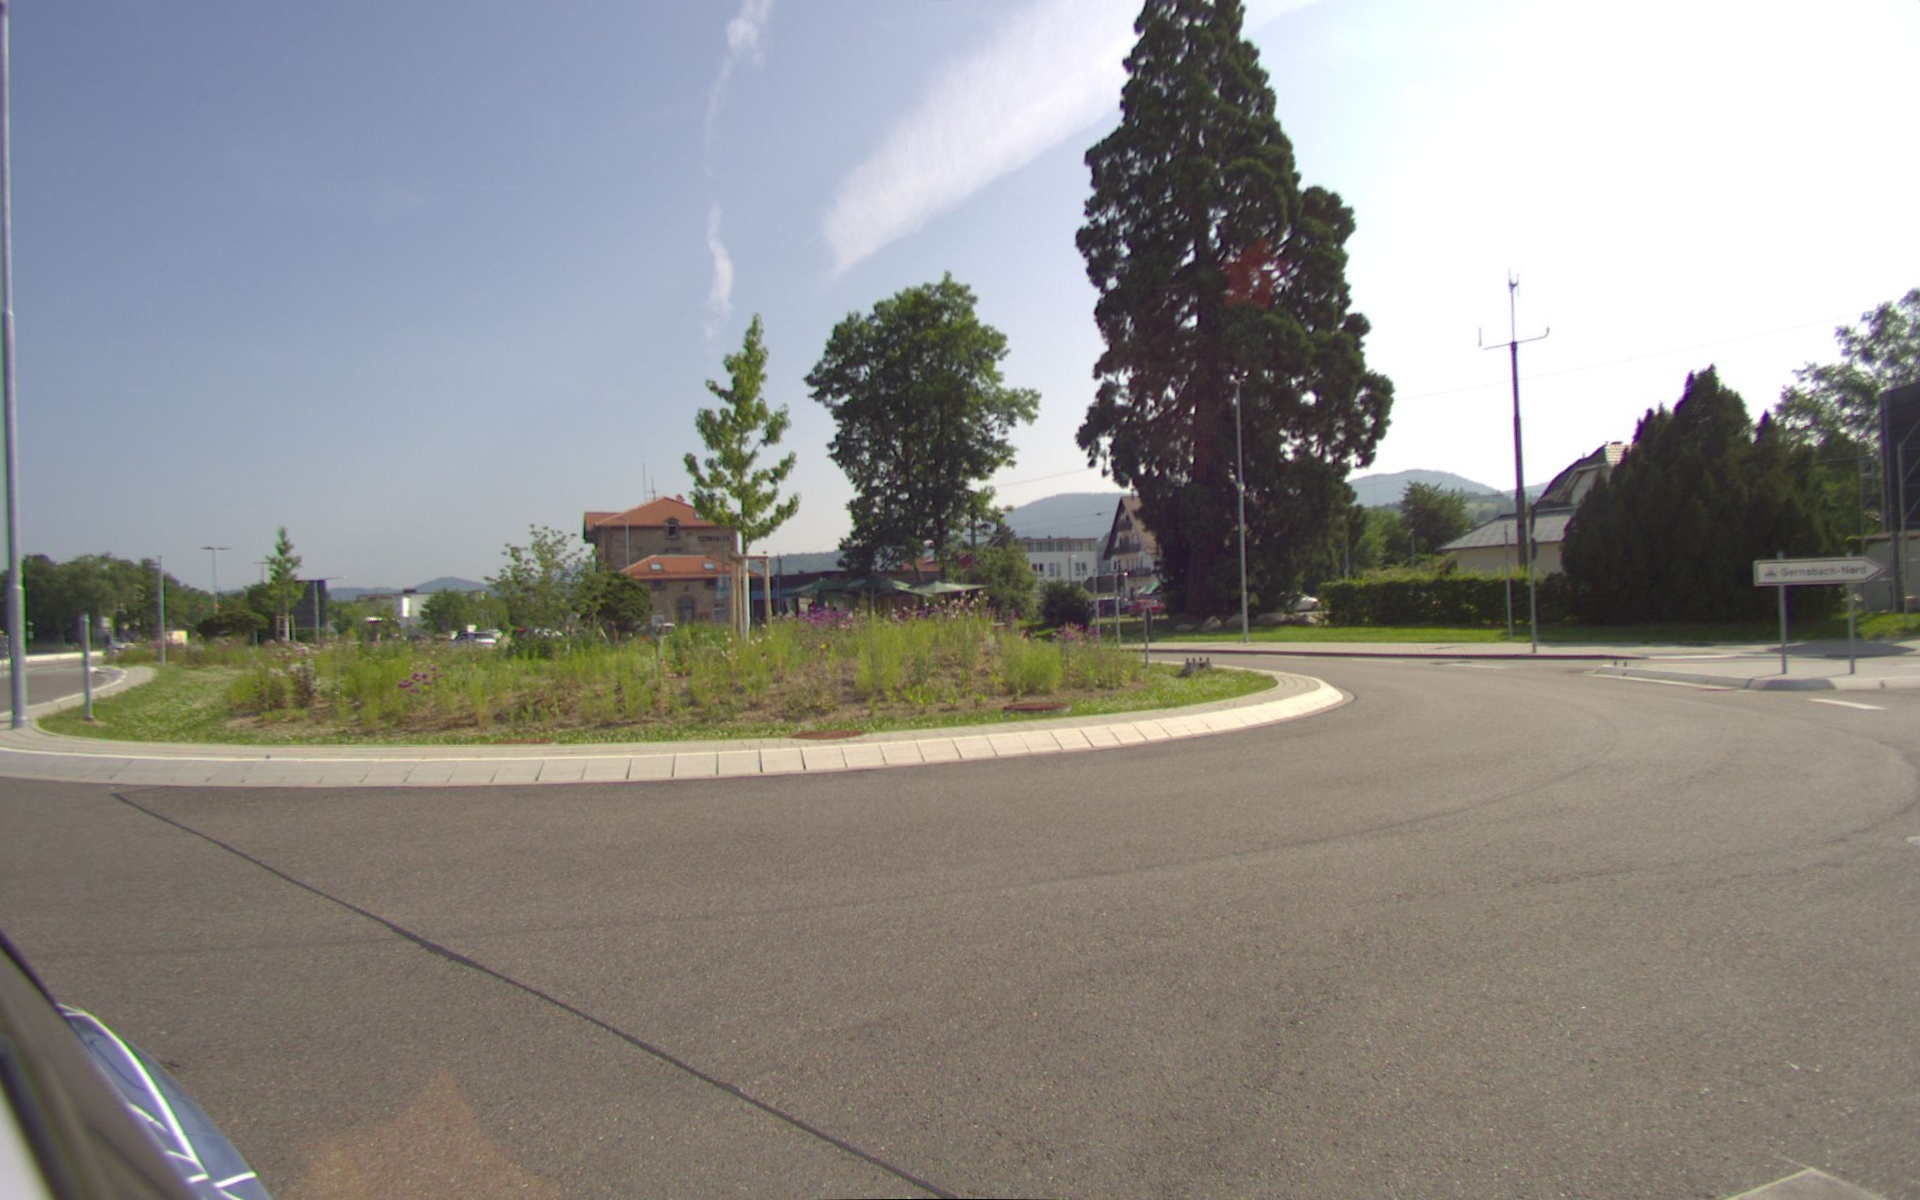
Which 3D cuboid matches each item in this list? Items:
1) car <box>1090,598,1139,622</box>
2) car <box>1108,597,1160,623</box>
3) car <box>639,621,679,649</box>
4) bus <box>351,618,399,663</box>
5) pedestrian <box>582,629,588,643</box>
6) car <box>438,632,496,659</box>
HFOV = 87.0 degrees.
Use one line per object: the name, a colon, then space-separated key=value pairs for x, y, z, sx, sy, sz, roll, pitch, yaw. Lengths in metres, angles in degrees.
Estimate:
car: x=13.803 y=0.895 z=90.769 sx=3.941 sy=1.864 sz=1.786 roll=-4 pitch=0 yaw=-3
car: x=14.808 y=0.863 z=86.216 sx=3.941 sy=1.864 sz=1.786 roll=-4 pitch=0 yaw=-3
car: x=-19.519 y=2.221 z=65.528 sx=1.651 sy=1.580 sz=3.662 roll=-4 pitch=2 yaw=-30
bus: x=-49.082 y=3.348 z=84.721 sx=2.546 sy=3.353 sz=10.616 roll=-4 pitch=0 yaw=-34
pedestrian: x=-32.238 y=3.106 z=87.070 sx=0.365 sy=1.171 sz=0.508 roll=-4 pitch=0 yaw=-24
car: x=-29.191 y=2.682 z=59.862 sx=3.998 sy=1.543 sz=1.652 roll=-3 pitch=-2 yaw=41
